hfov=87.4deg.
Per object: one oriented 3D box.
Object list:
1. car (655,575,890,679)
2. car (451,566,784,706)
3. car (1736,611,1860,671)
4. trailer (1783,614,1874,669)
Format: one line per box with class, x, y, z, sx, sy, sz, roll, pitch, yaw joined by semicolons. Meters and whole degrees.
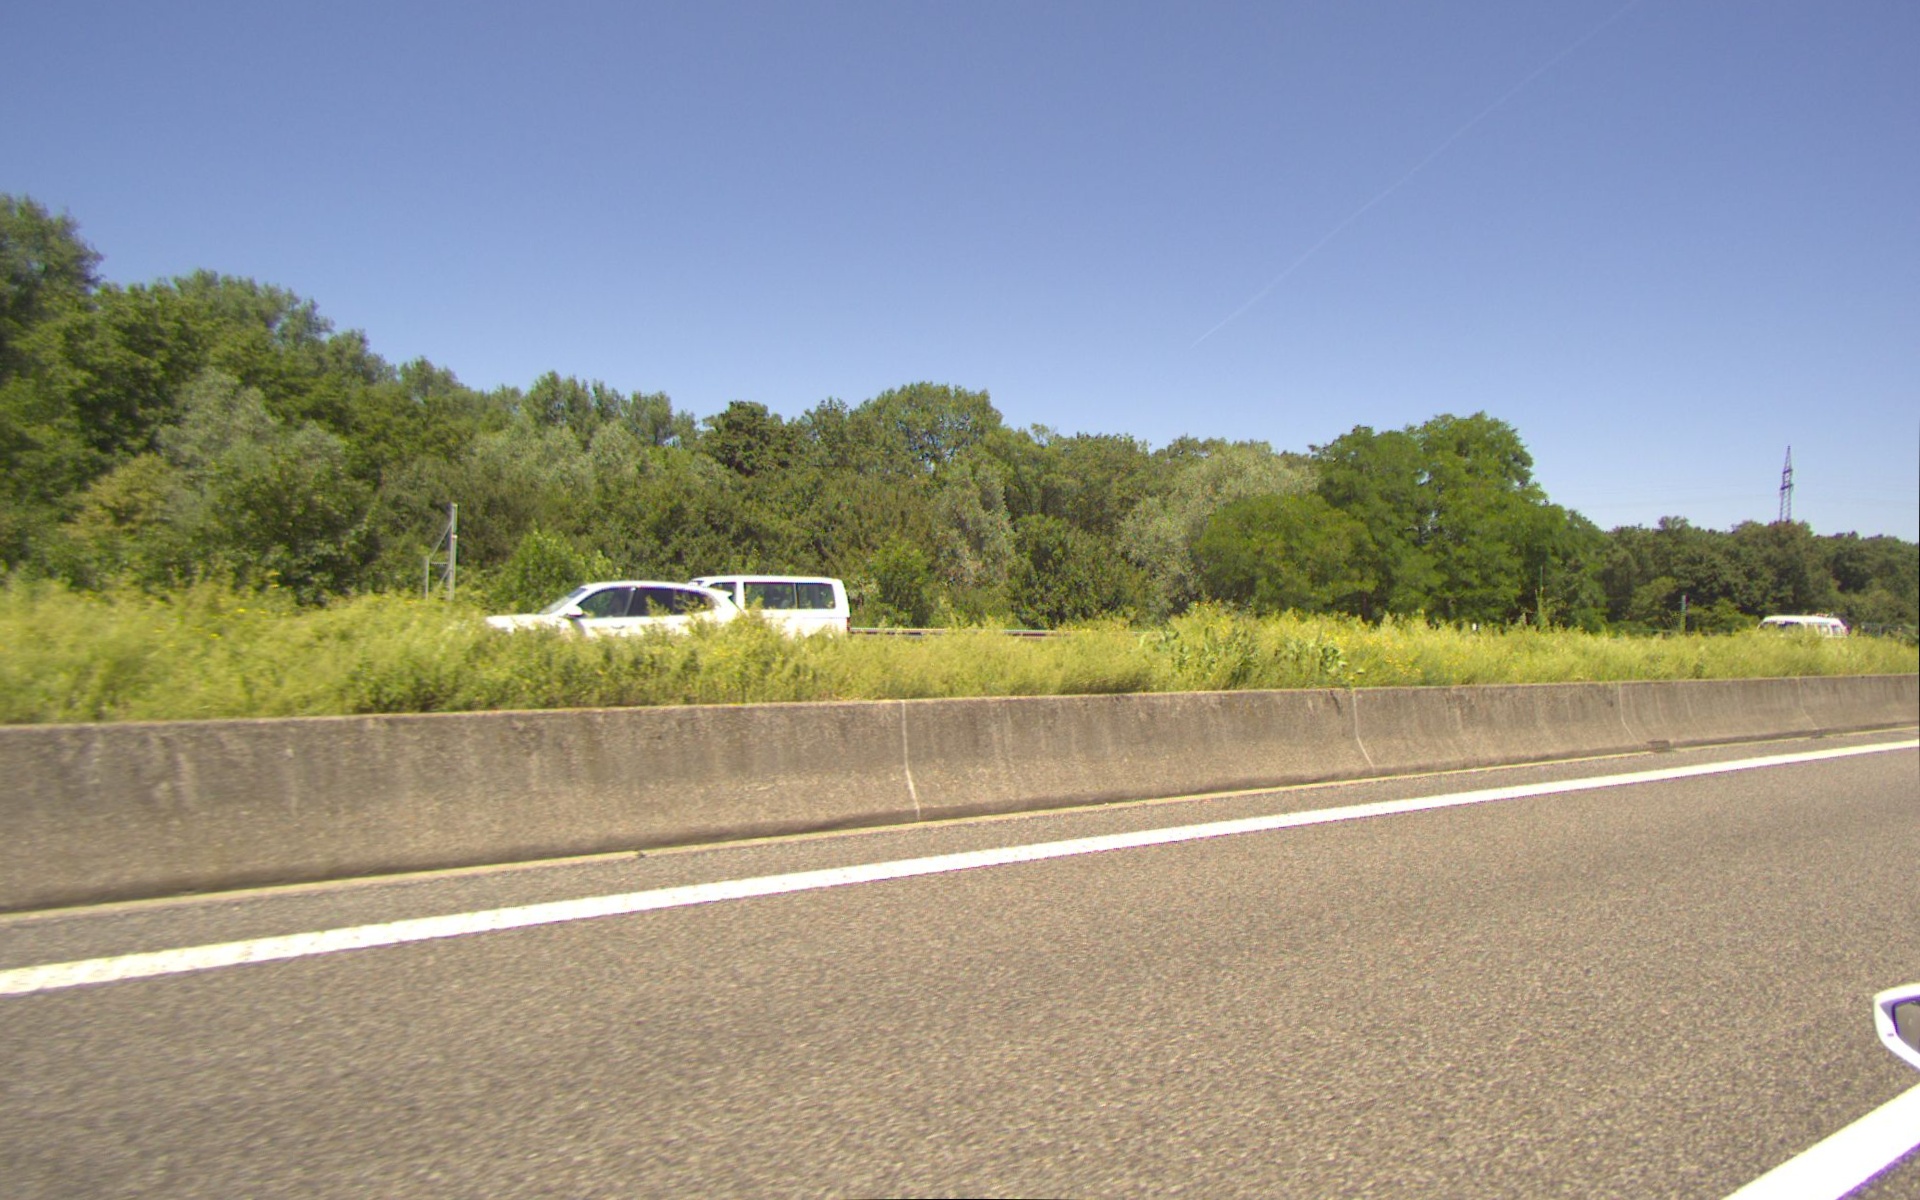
car;-4.009;0.587;21.676;4.564;2.040;1.984;2;0;-30
car;-5.334;0.555;15.815;4.666;1.924;1.895;2;0;-30
car;32.131;1.556;38.485;4.912;2.110;2.114;2;-1;-31
trailer;34.469;1.630;39.887;2.342;2.053;2.092;1;0;-31
